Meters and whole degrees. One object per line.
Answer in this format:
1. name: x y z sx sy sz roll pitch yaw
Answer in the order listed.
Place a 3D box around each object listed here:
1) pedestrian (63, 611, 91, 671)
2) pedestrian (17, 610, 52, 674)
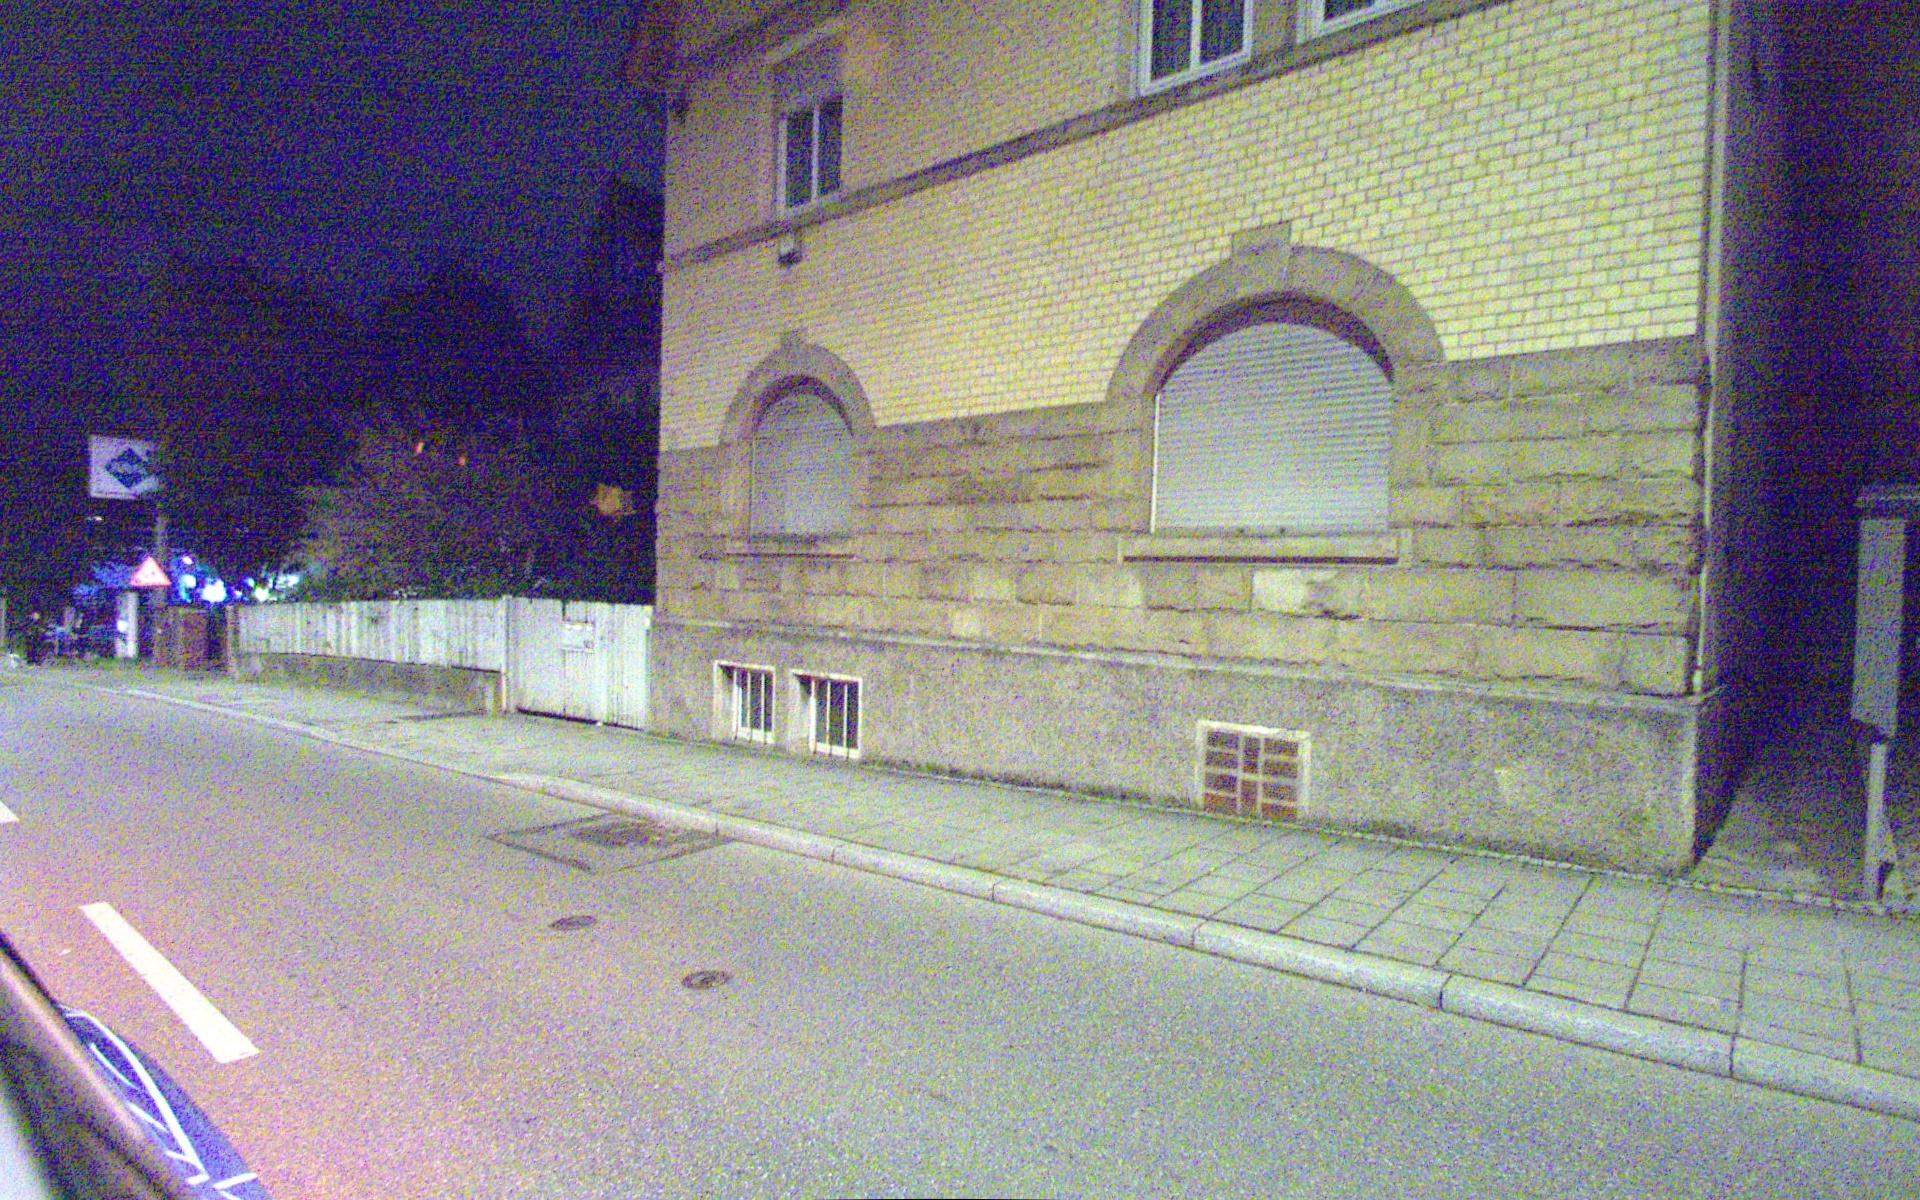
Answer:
1. pedestrian: -26.331 1.205 30.179 0.500 1.773 0.557 -1 0 41
2. pedestrian: -26.208 1.166 28.665 0.500 1.773 0.664 -1 0 41
